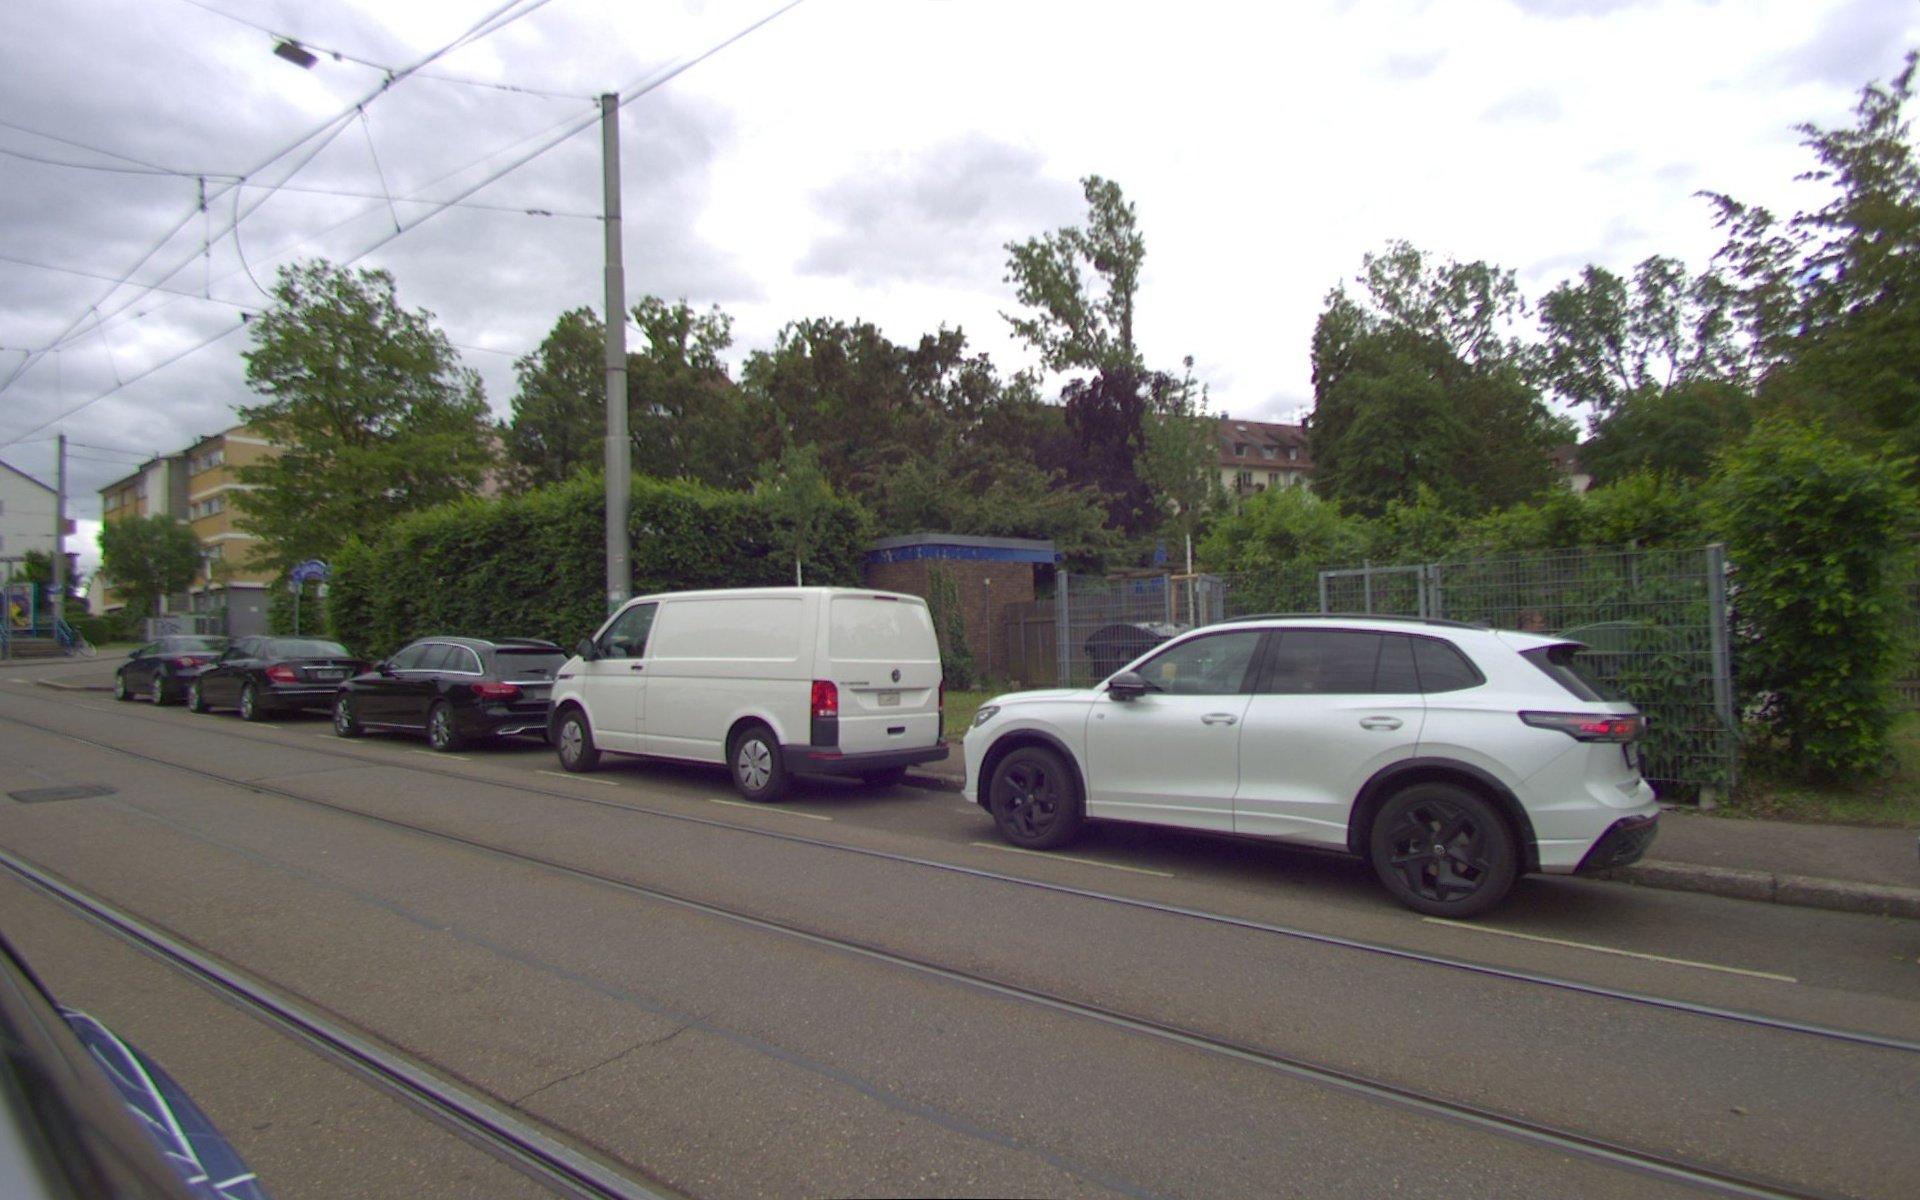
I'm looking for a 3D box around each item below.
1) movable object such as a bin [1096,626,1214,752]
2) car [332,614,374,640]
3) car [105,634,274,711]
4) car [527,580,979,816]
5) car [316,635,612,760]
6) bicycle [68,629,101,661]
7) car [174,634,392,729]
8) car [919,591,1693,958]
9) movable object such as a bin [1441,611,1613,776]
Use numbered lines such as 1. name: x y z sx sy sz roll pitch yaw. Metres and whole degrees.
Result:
1. movable object such as a bin: 2.184 0.961 11.339 1.050 1.307 0.727 -2 0 39
2. car: -35.208 1.537 58.810 1.810 1.475 4.013 0 -1 -27
3. car: -16.304 1.452 21.359 4.154 1.415 1.773 0 -2 37
4. car: -2.288 0.837 10.508 4.727 1.927 1.951 0 -2 37
5. car: -6.942 1.217 13.983 4.510 1.397 1.823 0 -2 37
6. bicycle: -33.898 1.732 39.177 1.486 1.190 0.705 0 -2 38
7. car: -11.976 1.339 17.807 4.433 1.397 1.823 0 -2 37
8. car: 2.124 0.842 6.891 4.625 1.699 1.951 0 -2 37
9. movable object such as a bin: 5.387 0.821 9.596 1.201 1.383 1.263 -2 0 39
